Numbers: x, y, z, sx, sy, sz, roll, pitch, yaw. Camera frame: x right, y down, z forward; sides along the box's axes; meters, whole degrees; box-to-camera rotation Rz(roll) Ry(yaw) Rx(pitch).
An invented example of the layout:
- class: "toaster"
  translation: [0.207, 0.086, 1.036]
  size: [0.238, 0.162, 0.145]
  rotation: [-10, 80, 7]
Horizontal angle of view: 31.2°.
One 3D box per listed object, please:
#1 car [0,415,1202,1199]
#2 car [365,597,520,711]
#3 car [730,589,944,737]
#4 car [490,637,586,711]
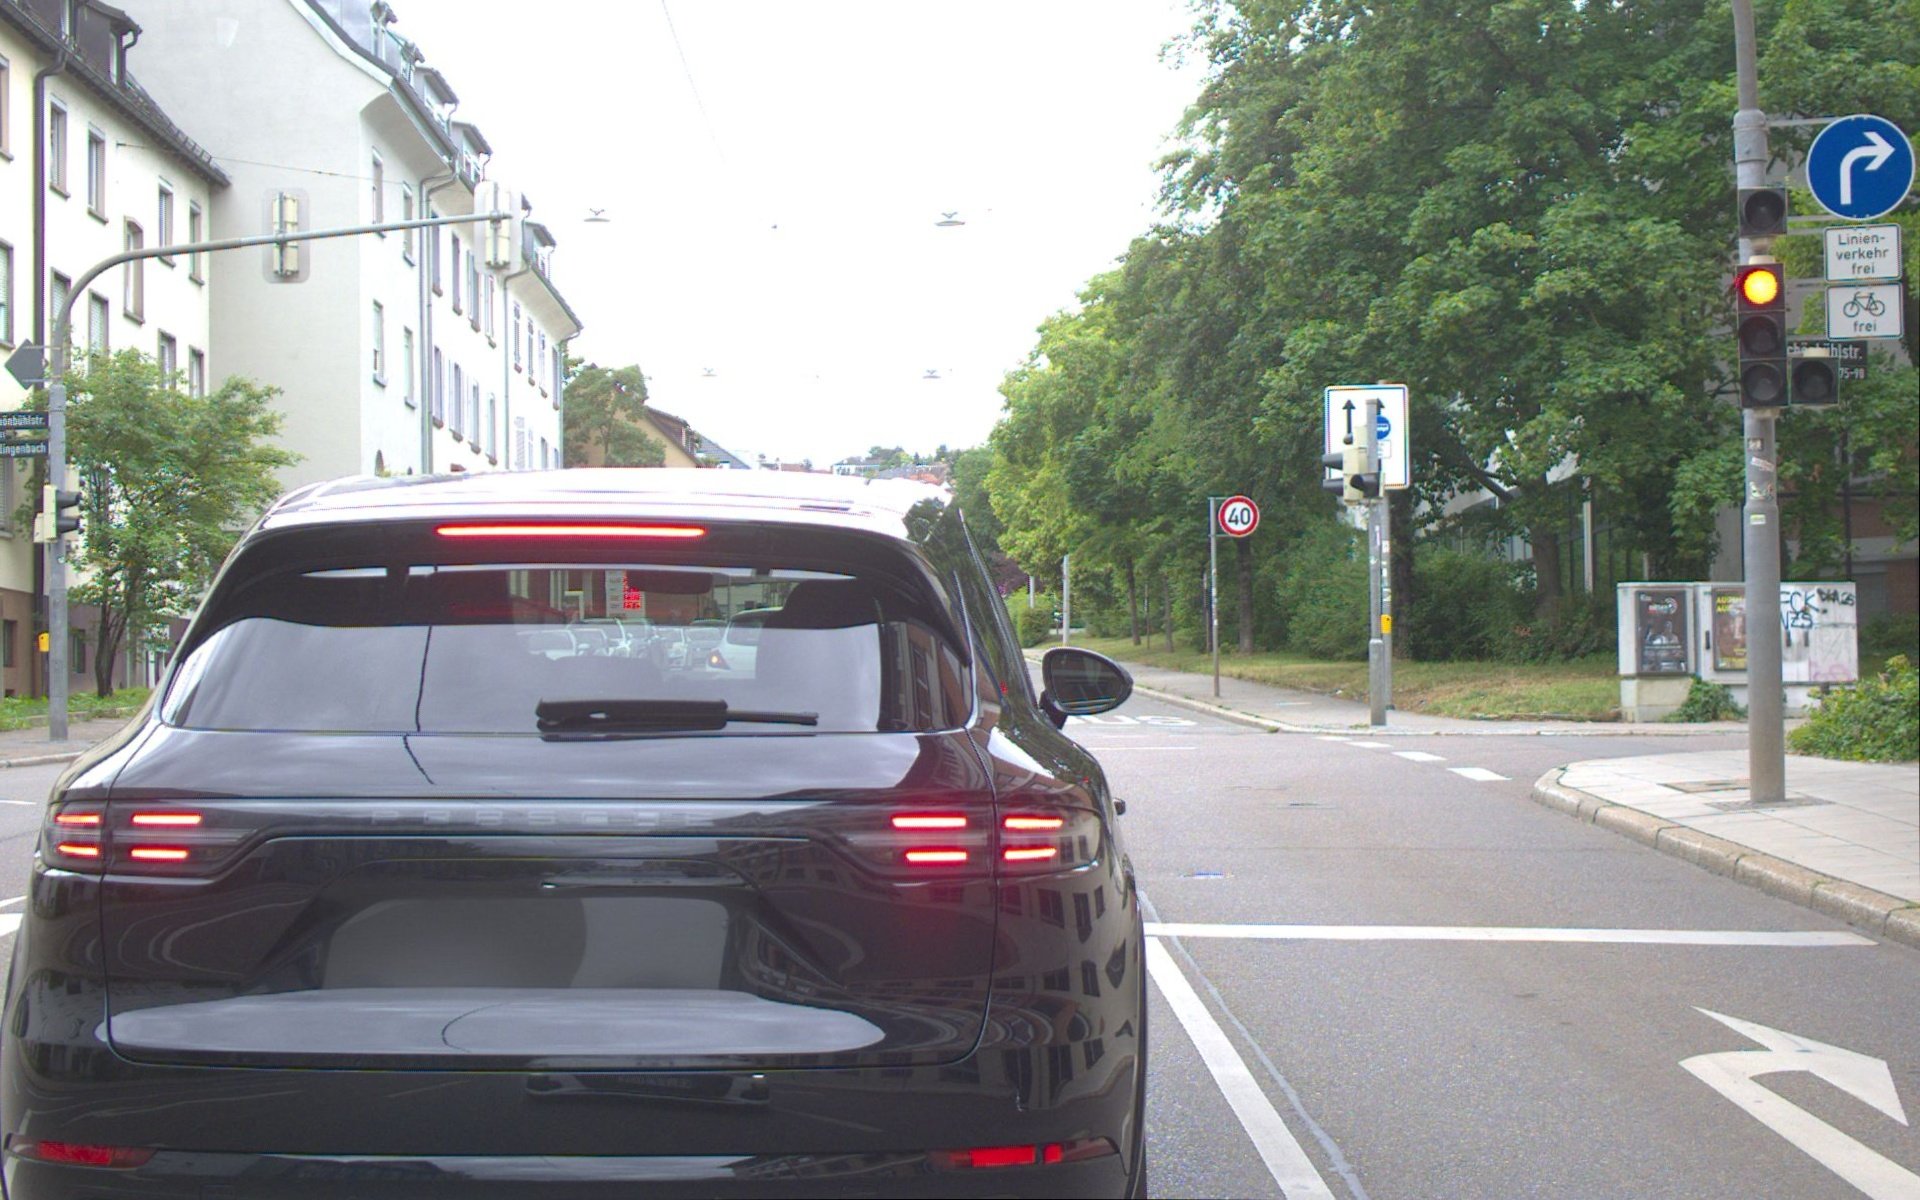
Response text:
- class: "car"
  translation: [-0.669, 0.560, 7.136]
  size: [1.993, 1.691, 4.000]
  rotation: [1, 1, -1]
- class: "car"
  translation: [-7.737, 0.777, 51.690]
  size: [1.664, 1.514, 3.740]
  rotation: [-4, 0, 0]
- class: "car"
  translation: [-1.337, 0.670, 38.833]
  size: [1.689, 1.547, 3.887]
  rotation: [1, 1, 9]
- class: "car"
  translation: [-8.496, 1.470, 69.401]
  size: [1.669, 1.357, 4.001]
  rotation: [0, 1, -3]
